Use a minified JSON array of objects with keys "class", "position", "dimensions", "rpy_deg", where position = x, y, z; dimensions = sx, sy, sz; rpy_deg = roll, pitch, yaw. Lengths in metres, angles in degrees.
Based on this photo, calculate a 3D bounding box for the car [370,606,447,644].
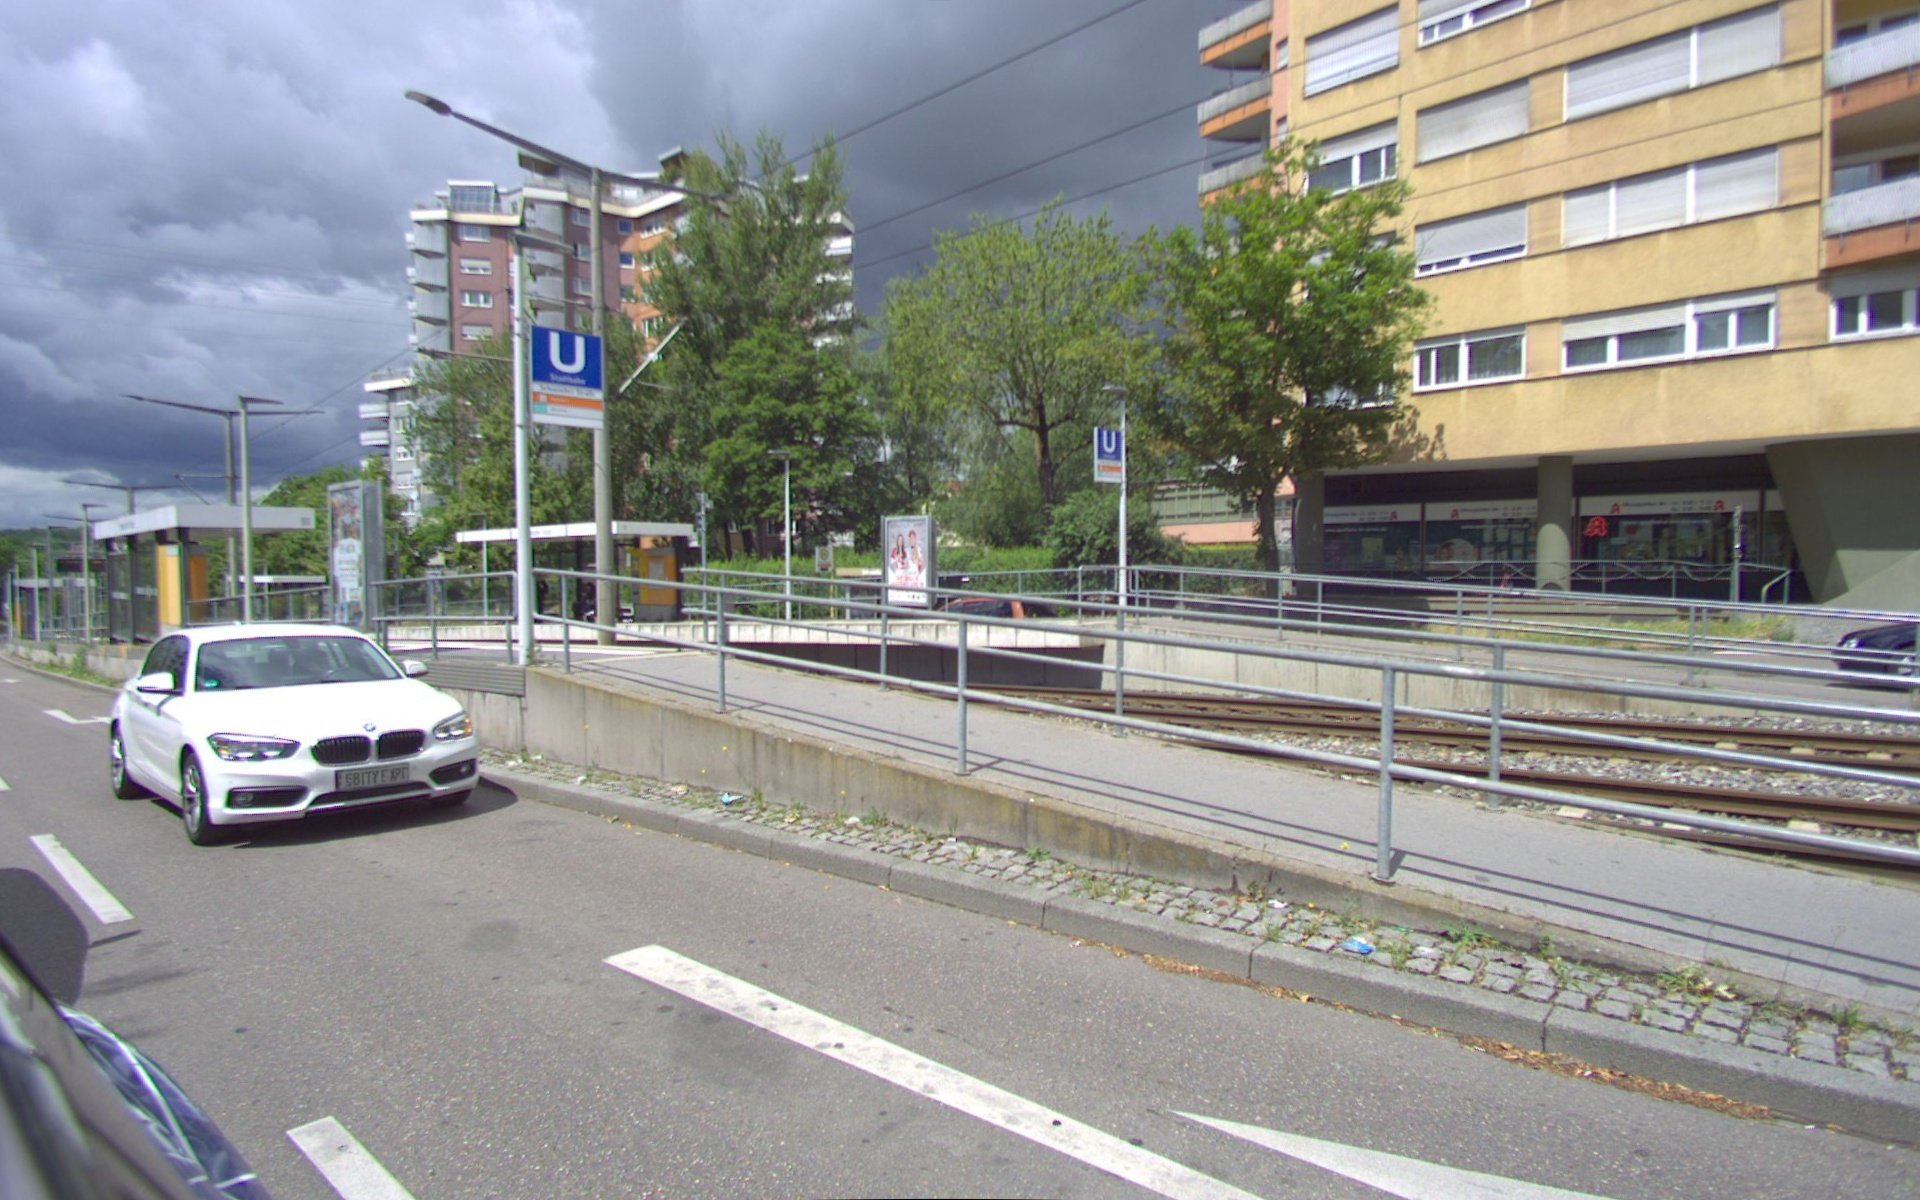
[{"class":"car","position":[-27.564,1.222,50.526],"dimensions":[4.509,1.815,1.972],"rpy_deg":[-1,-2,42]}]

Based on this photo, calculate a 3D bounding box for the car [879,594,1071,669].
[{"class":"car","position":[0.292,0.734,24.403],"dimensions":[4.460,1.647,1.972],"rpy_deg":[-1,-2,42]}]

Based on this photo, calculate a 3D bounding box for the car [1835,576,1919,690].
[{"class":"car","position":[13.607,0.373,12.401],"dimensions":[4.249,1.424,1.613],"rpy_deg":[-2,-1,39]}]

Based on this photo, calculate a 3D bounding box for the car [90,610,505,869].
[{"class":"car","position":[-5.295,0.846,7.874],"dimensions":[3.998,1.472,1.710],"rpy_deg":[-1,0,42]}]

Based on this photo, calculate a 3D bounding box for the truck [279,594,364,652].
[{"class":"truck","position":[-38.300,1.390,60.580],"dimensions":[7.260,3.247,2.389],"rpy_deg":[-2,-1,42]}]
